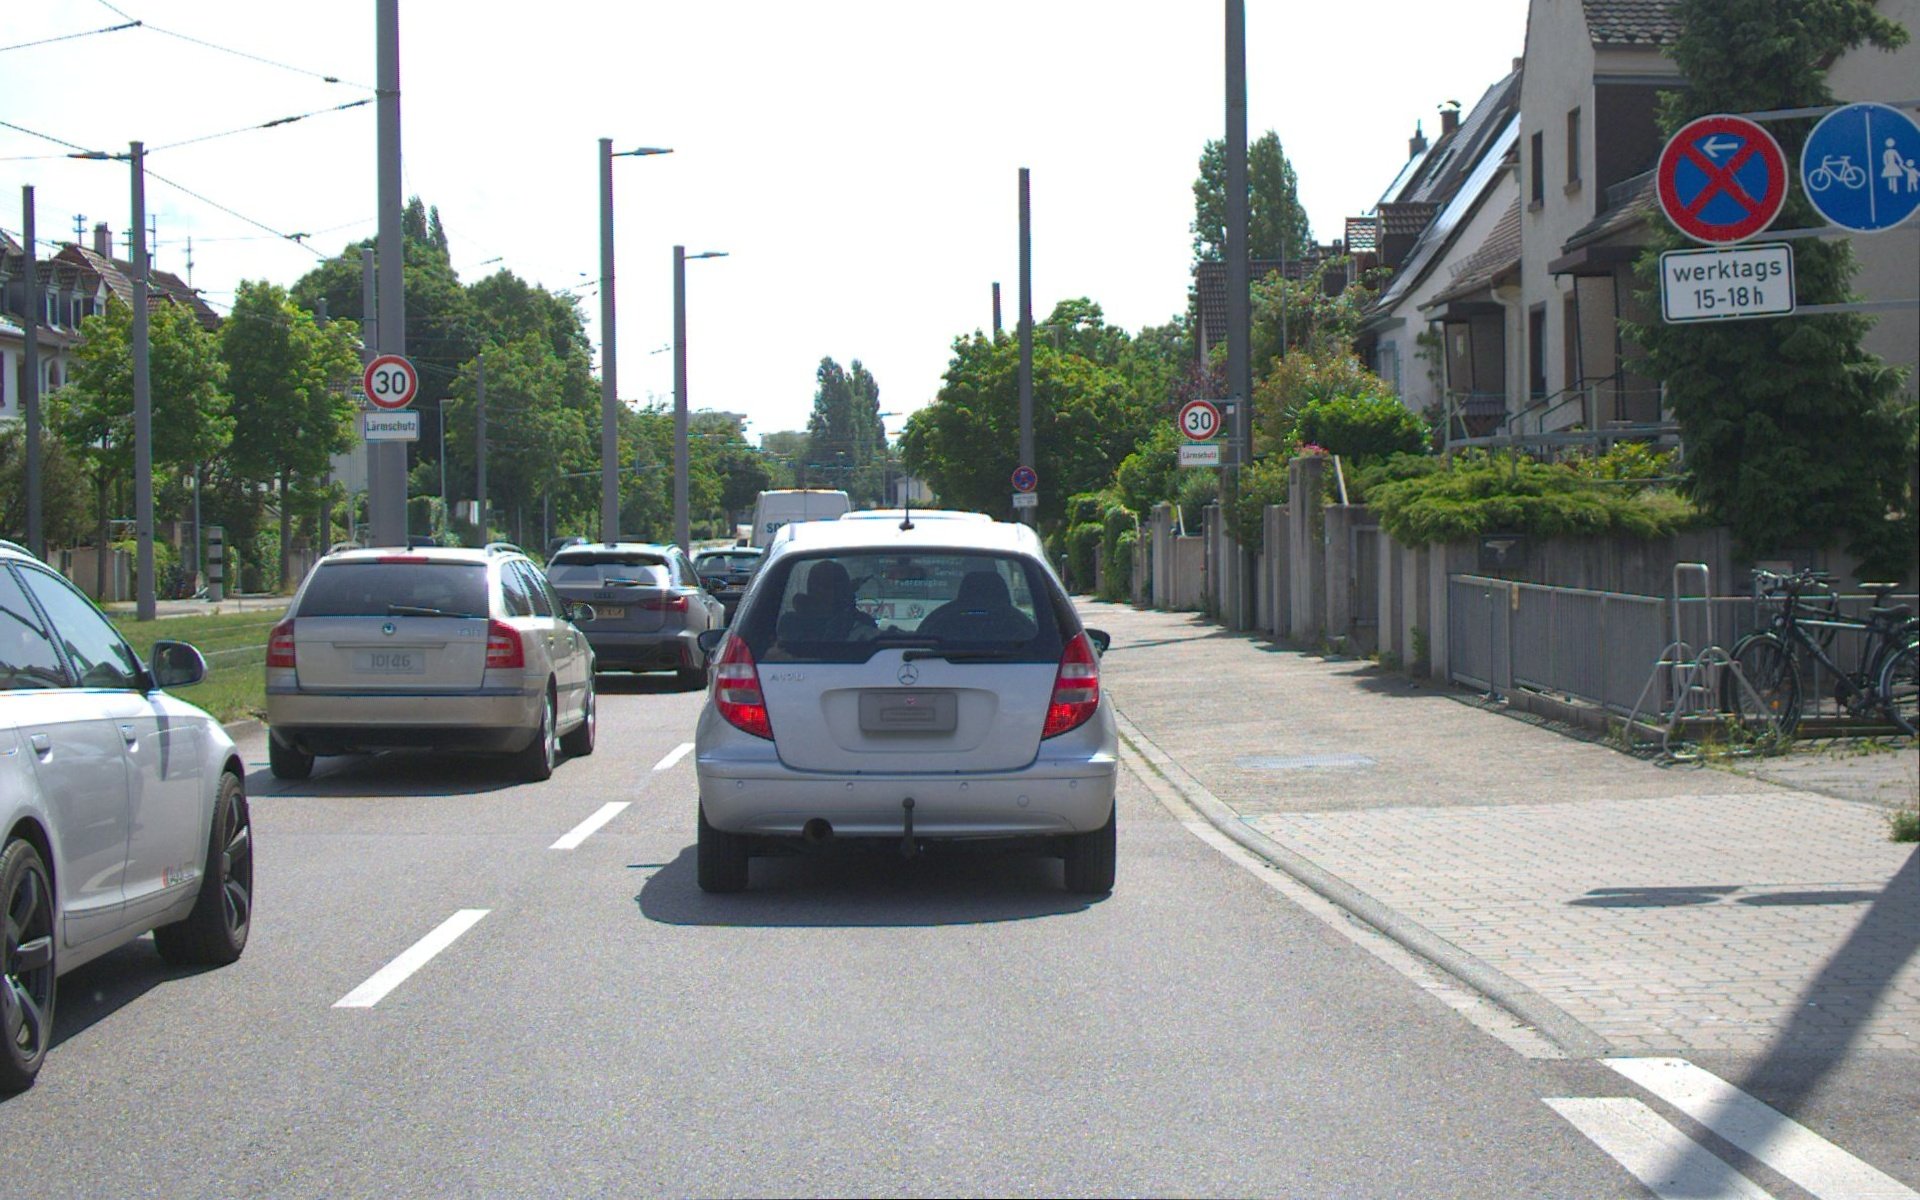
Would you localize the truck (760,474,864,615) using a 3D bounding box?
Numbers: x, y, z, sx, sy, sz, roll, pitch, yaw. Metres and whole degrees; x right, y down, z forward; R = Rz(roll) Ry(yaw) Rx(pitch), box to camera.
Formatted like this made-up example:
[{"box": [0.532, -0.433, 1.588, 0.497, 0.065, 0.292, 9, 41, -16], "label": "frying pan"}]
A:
[{"box": [-2.830, -1.068, 65.920, 1.852, 2.543, 5.856, 1, 1, -2], "label": "truck"}]

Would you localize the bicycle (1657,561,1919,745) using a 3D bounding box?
[{"box": [5.949, 0.319, 22.212, 2.726, 1.116, 0.691, -2, 1, -1], "label": "bicycle"}]

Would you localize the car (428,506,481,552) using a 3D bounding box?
[{"box": [-26.065, -3.674, 177.464, 1.916, 2.322, 4.562, 1, 1, 1], "label": "car"}]

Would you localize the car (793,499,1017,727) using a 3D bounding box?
[{"box": [-0.464, 0.066, 28.921, 1.730, 1.756, 4.017, 1, 1, -1], "label": "car"}]

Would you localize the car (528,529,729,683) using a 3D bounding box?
[{"box": [-3.404, 0.017, 36.034, 1.916, 1.472, 4.563, 1, 1, -3], "label": "car"}]

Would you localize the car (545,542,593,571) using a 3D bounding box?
[{"box": [-20.356, -2.278, 179.144, 1.916, 1.472, 4.562, 1, 1, 1], "label": "car"}]

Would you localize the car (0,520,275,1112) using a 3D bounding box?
[{"box": [-3.346, 0.506, 10.197, 1.794, 1.467, 4.722, 0, 2, -1], "label": "car"}]

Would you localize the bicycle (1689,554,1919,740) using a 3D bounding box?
[{"box": [5.983, 0.267, 21.465, 2.661, 1.101, 0.786, -2, 1, -1], "label": "bicycle"}]

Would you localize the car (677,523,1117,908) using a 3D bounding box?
[{"box": [-0.305, 0.427, 15.710, 1.730, 1.511, 4.017, 1, 1, -2], "label": "car"}]

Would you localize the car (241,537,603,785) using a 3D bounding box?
[{"box": [-3.410, 0.326, 22.470, 1.731, 1.444, 4.123, 1, 1, 0], "label": "car"}]

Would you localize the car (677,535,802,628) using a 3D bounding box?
[{"box": [-3.456, -0.323, 54.559, 1.852, 1.383, 4.515, 1, 1, -2], "label": "car"}]
